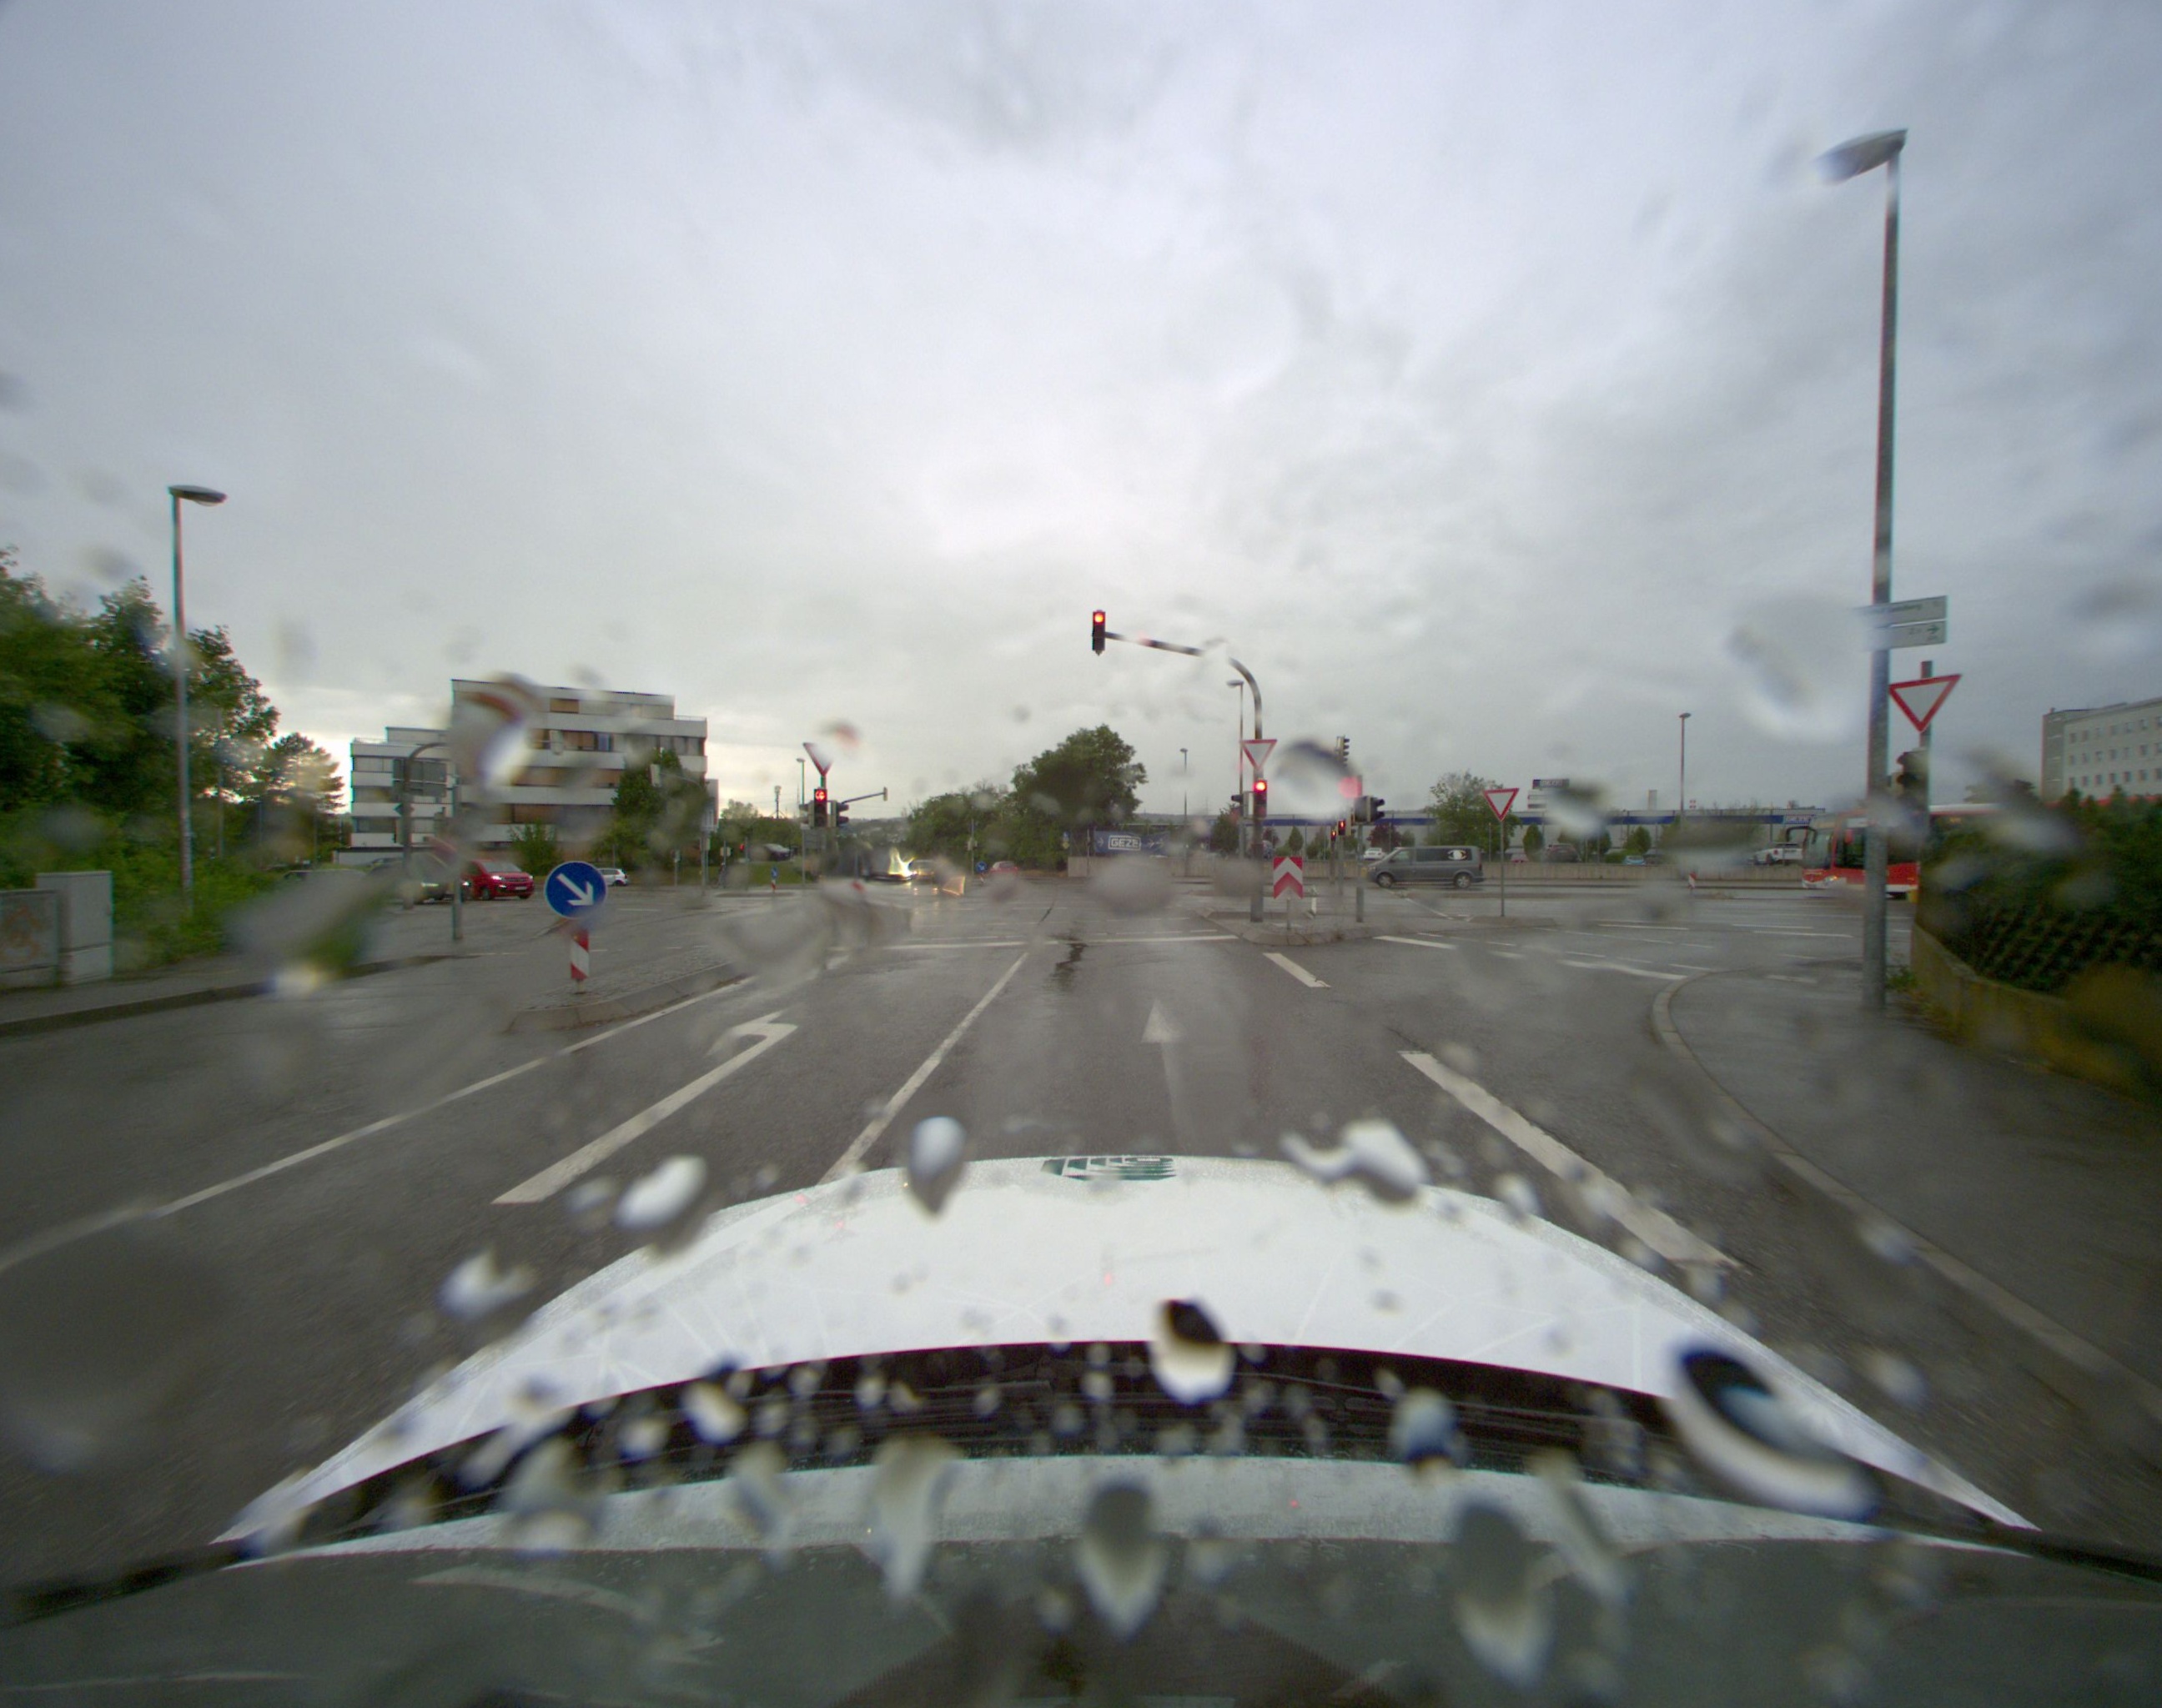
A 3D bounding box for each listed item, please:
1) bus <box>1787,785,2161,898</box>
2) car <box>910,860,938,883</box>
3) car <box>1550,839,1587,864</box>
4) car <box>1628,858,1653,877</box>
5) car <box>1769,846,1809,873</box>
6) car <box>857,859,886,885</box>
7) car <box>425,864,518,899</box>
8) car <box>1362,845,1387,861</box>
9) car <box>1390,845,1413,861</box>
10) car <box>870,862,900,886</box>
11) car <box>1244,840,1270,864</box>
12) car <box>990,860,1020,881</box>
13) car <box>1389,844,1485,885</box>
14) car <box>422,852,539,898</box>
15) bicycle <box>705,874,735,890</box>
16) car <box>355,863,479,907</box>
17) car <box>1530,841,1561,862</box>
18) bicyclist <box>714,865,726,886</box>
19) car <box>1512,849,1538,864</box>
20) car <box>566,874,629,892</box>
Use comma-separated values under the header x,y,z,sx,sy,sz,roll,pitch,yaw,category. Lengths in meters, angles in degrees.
x,y,z,sx,sy,sz,roll,pitch,yaw,category
30.831,-0.401,26.009,12.170,3.321,3.091,1,0,22,bus
-11.546,1.247,59.912,1.995,1.618,3.985,-1,0,-11,car
34.771,-0.155,58.001,1.749,1.715,3.671,-1,0,39,car
53.738,1.245,78.200,1.749,1.715,3.671,-1,0,38,car
45.689,0.325,52.619,1.749,1.715,3.671,-1,0,38,car
-15.597,1.331,60.542,1.997,1.895,3.979,0,-1,-15,car
-30.989,1.390,41.391,3.952,1.684,2.011,-1,0,22,car
28.421,-0.132,78.762,1.976,1.478,4.022,0,0,23,car
30.709,-0.148,78.028,1.976,1.478,4.022,0,0,23,car
-16.344,1.658,68.064,1.992,1.895,3.991,-1,0,-7,car
14.900,-0.174,68.776,1.979,2.013,4.016,-1,0,15,car
-5.788,1.204,61.348,1.618,1.448,3.787,0,1,-15,car
16.625,0.483,38.262,3.955,1.849,2.009,0,0,18,car
-27.606,0.960,37.459,4.732,2.013,2.010,-1,0,20,car
-24.645,1.879,55.580,1.770,1.052,0.609,-1,0,-4,bicycle
-27.993,1.311,34.355,4.577,1.679,2.045,-2,0,22,car
39.126,-0.239,68.583,1.699,1.715,3.671,-1,0,38,car
-24.635,1.451,55.580,0.542,1.446,0.602,-1,0,-3,bicyclist
45.139,0.219,82.747,1.749,1.479,3.671,-1,0,38,car
-33.425,1.998,56.434,3.521,1.105,1.806,-1,0,-24,car
